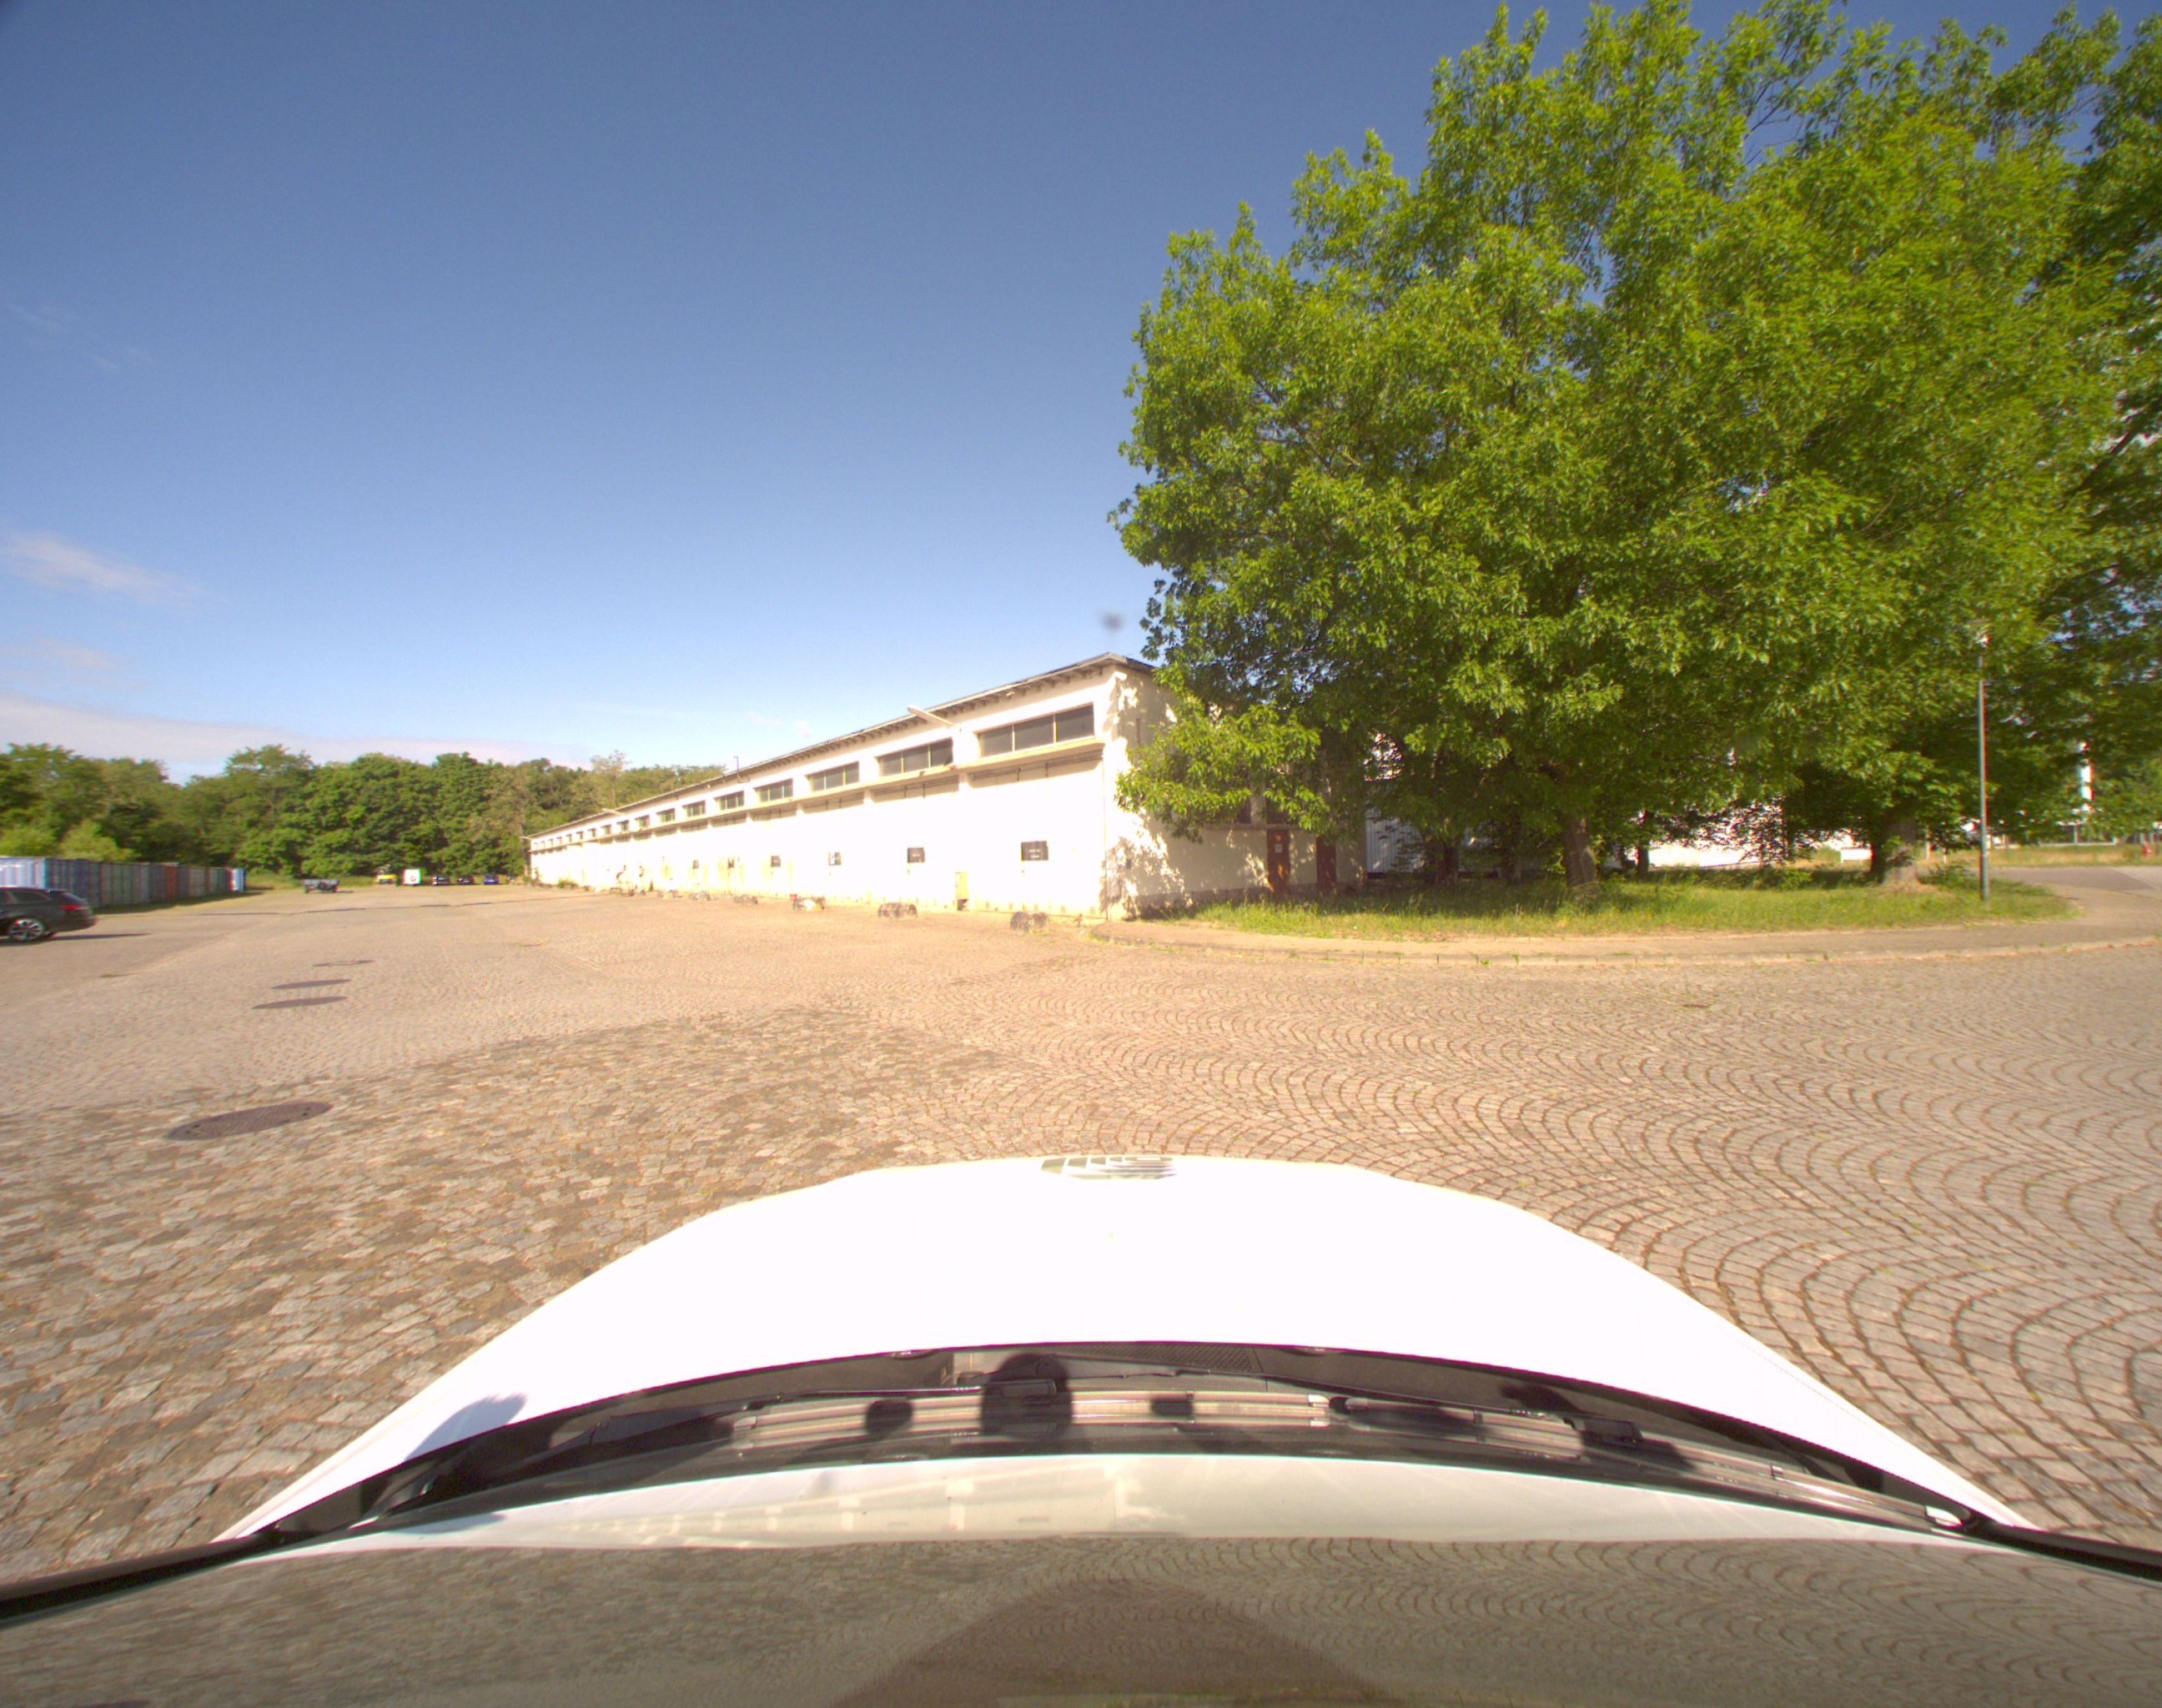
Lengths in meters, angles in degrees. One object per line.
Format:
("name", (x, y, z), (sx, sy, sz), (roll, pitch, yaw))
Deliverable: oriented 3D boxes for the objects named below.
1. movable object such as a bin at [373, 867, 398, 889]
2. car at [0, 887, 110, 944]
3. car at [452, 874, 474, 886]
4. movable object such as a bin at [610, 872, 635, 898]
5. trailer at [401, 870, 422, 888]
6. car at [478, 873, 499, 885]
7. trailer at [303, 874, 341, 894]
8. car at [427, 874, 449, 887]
("movable object such as a bin", (-86.335, 2.955, 101.136), (2.009, 2.618, 3.956), (-3, 0, -36))
("car", (-28.317, 1.610, 20.994), (1.710, 1.413, 4.086), (-2, -2, 44))
("car", (-79.401, 3.321, 104.696), (2.008, 1.463, 3.958), (-1, -1, -33))
("movable object such as a bin", (-24.299, 1.643, 43.122), (1.264, 1.331, 0.831), (-2, -1, 45))
("trailer", (-84.243, 3.129, 102.549), (1.807, 2.090, 3.927), (-1, -1, -36))
("car", (-77.378, 3.226, 106.415), (2.008, 1.420, 3.958), (-1, -1, -33))
("trailer", (-77.636, 3.045, 83.351), (2.426, 2.014, 4.125), (1, -2, -38))
("car", (-81.227, 3.315, 102.915), (1.874, 1.585, 3.958), (-1, -1, -33))
